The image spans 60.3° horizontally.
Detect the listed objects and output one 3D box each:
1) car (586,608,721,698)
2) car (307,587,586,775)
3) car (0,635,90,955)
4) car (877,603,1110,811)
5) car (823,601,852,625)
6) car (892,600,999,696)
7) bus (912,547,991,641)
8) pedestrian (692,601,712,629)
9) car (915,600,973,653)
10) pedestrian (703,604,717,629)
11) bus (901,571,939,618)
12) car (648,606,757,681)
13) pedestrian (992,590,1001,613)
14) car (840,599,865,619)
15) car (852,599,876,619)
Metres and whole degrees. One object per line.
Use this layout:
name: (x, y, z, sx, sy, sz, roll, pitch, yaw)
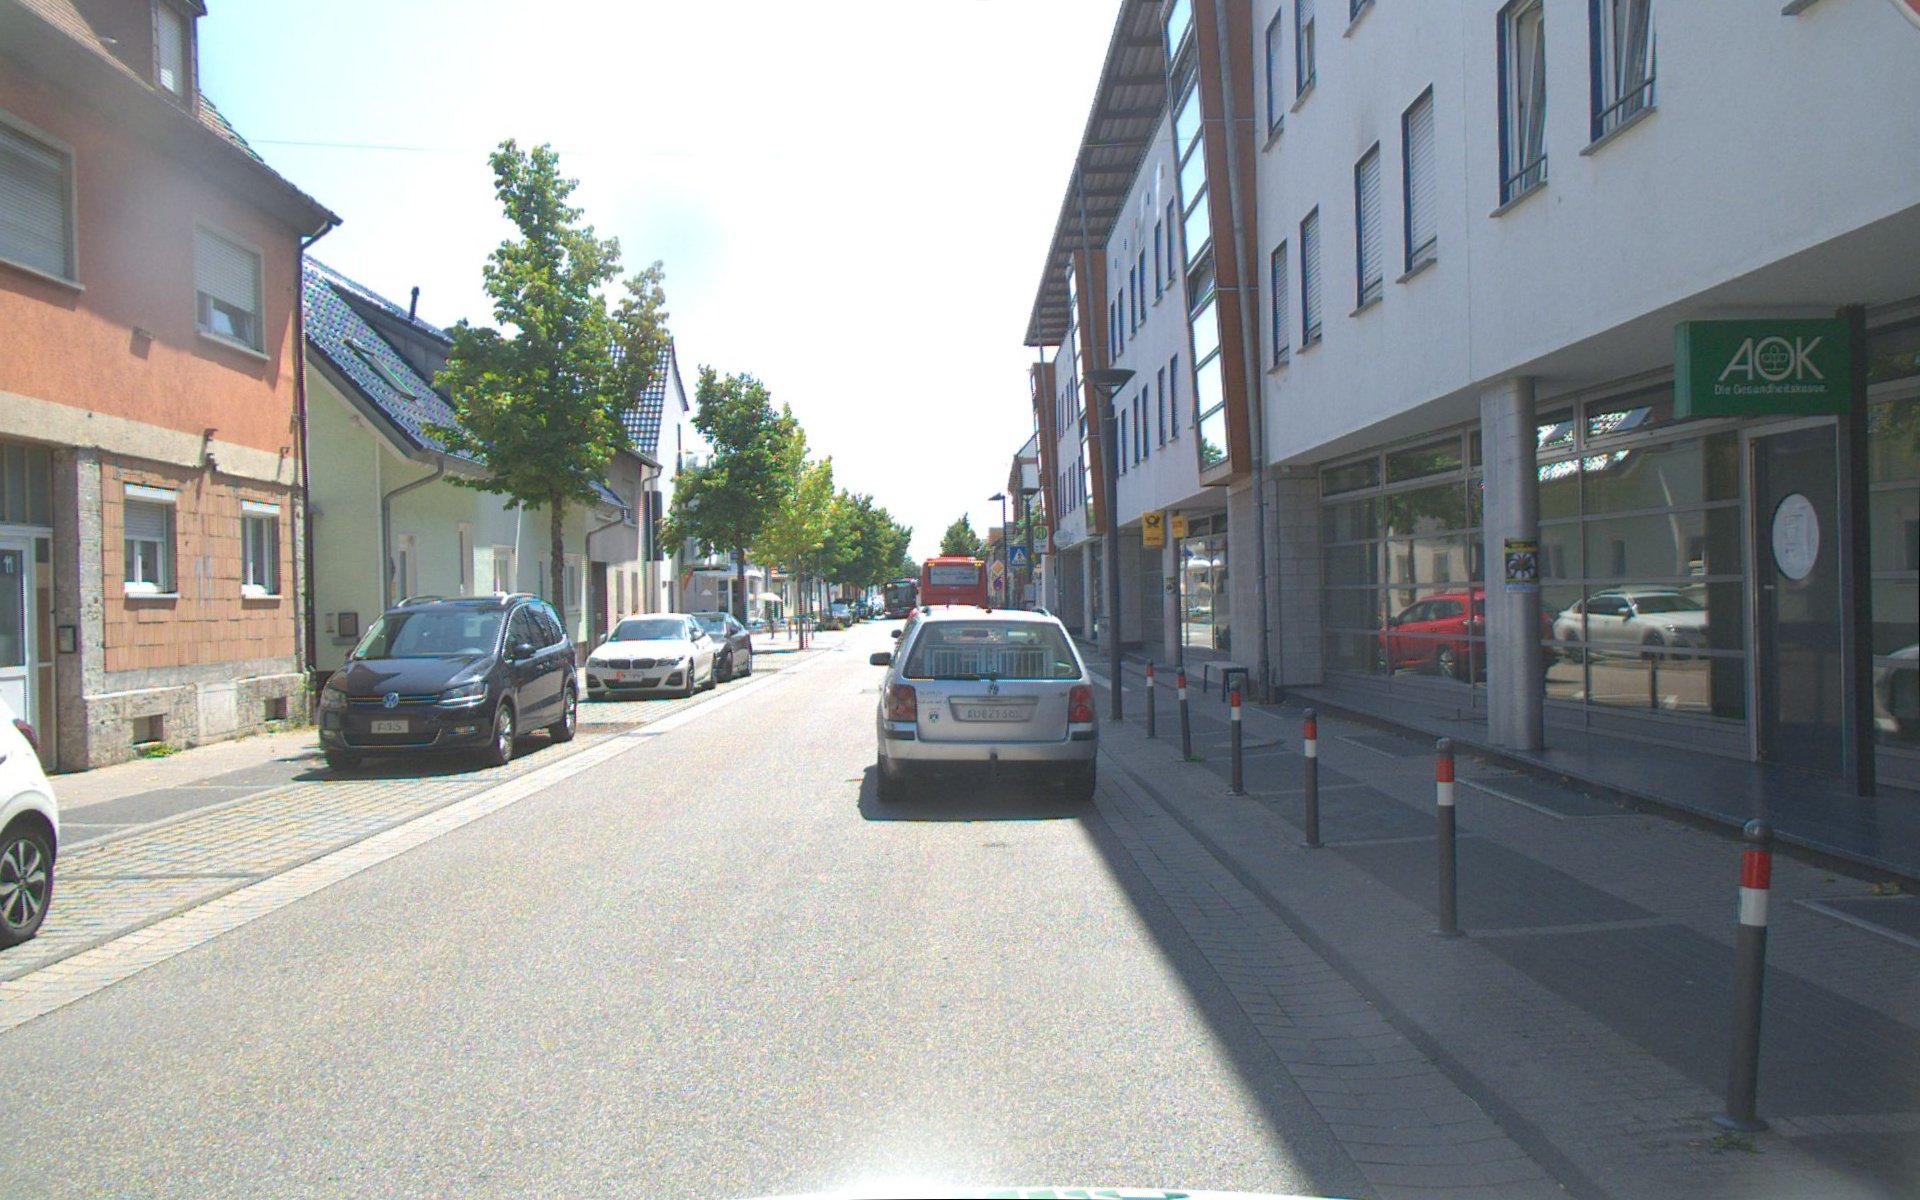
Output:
car: (-5.515, 0.907, 30.220, 1.685, 1.462, 4.458, -1, 0, -1)
car: (-5.439, 0.771, 18.129, 1.739, 1.756, 4.518, -2, 0, -2)
car: (-5.194, 0.934, 6.683, 1.522, 1.455, 3.409, -2, 0, 0)
car: (0.216, 0.768, 13.644, 1.643, 1.455, 3.679, 1, 0, -1)
car: (-7.688, 0.824, 104.434, 1.572, 1.463, 4.064, -1, 0, -1)
car: (-0.246, 0.737, 27.258, 1.643, 1.455, 3.679, 0, 0, -1)
bus: (-0.489, -0.200, 66.391, 2.685, 3.356, 12.699, -1, 0, -2)
pedestrian: (-12.438, 0.736, 79.795, 0.631, 1.311, 0.776, 1, -1, -44)
car: (-0.432, 0.719, 47.097, 1.561, 1.455, 3.679, 0, 0, 0)
pedestrian: (-12.226, 0.810, 80.968, 0.610, 1.199, 0.696, -1, 0, -5)
bus: (-3.404, -0.577, 136.920, 2.615, 3.177, 17.800, -1, 2, -3)
car: (-5.498, 0.893, 35.815, 1.626, 1.462, 4.538, -1, 0, 0)
pedestrian: (2.751, 0.113, 125.849, 0.594, 1.696, 0.789, -1, 0, -2)
car: (-8.484, 0.702, 131.123, 1.775, 1.586, 3.999, -1, 0, -1)
car: (-7.965, 0.729, 137.631, 1.775, 1.586, 3.999, -1, 0, -1)
